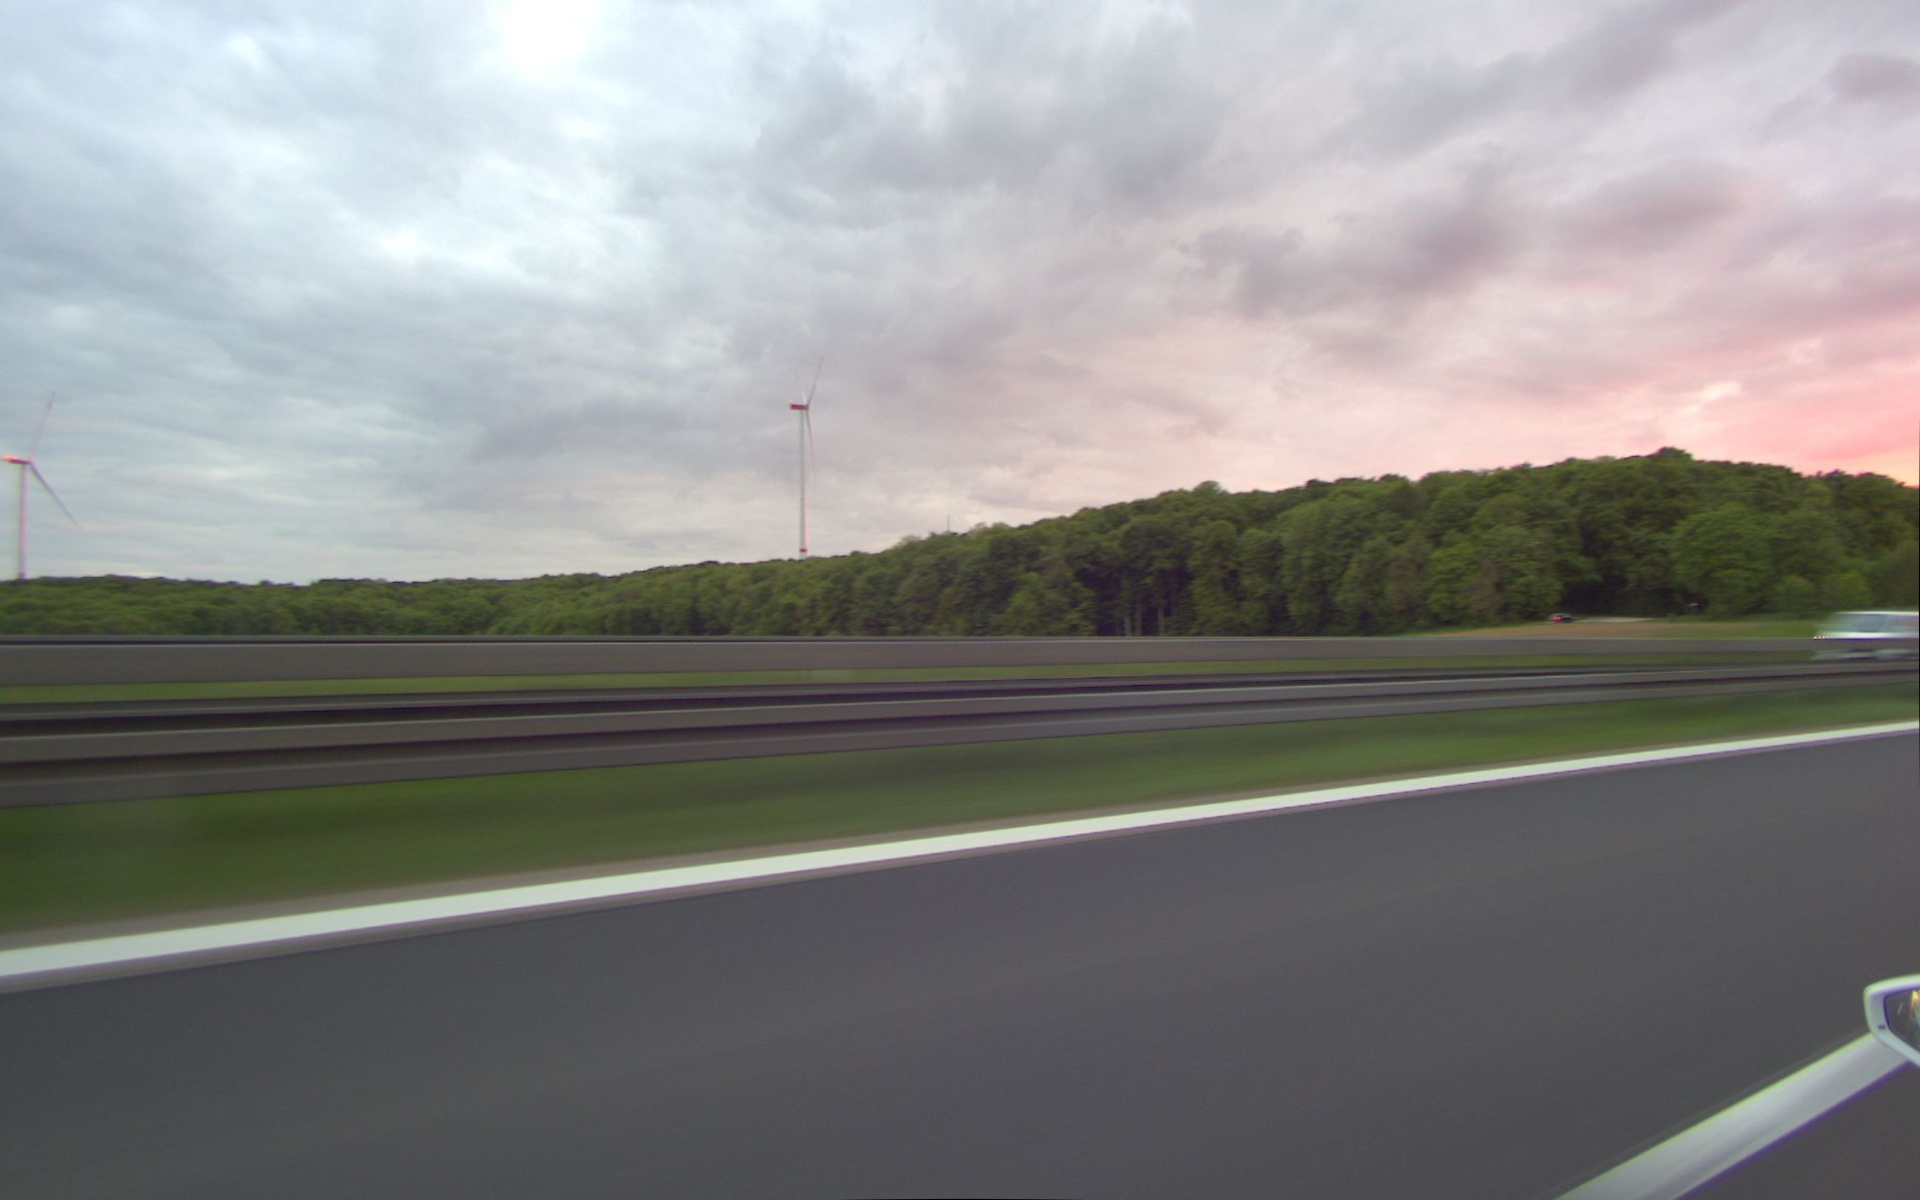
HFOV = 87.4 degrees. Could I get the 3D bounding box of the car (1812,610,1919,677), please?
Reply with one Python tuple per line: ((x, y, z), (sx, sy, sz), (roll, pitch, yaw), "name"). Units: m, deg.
((32.189, 1.512, 34.761), (5.193, 2.038, 2.274), (1, -7, -29), "car")
